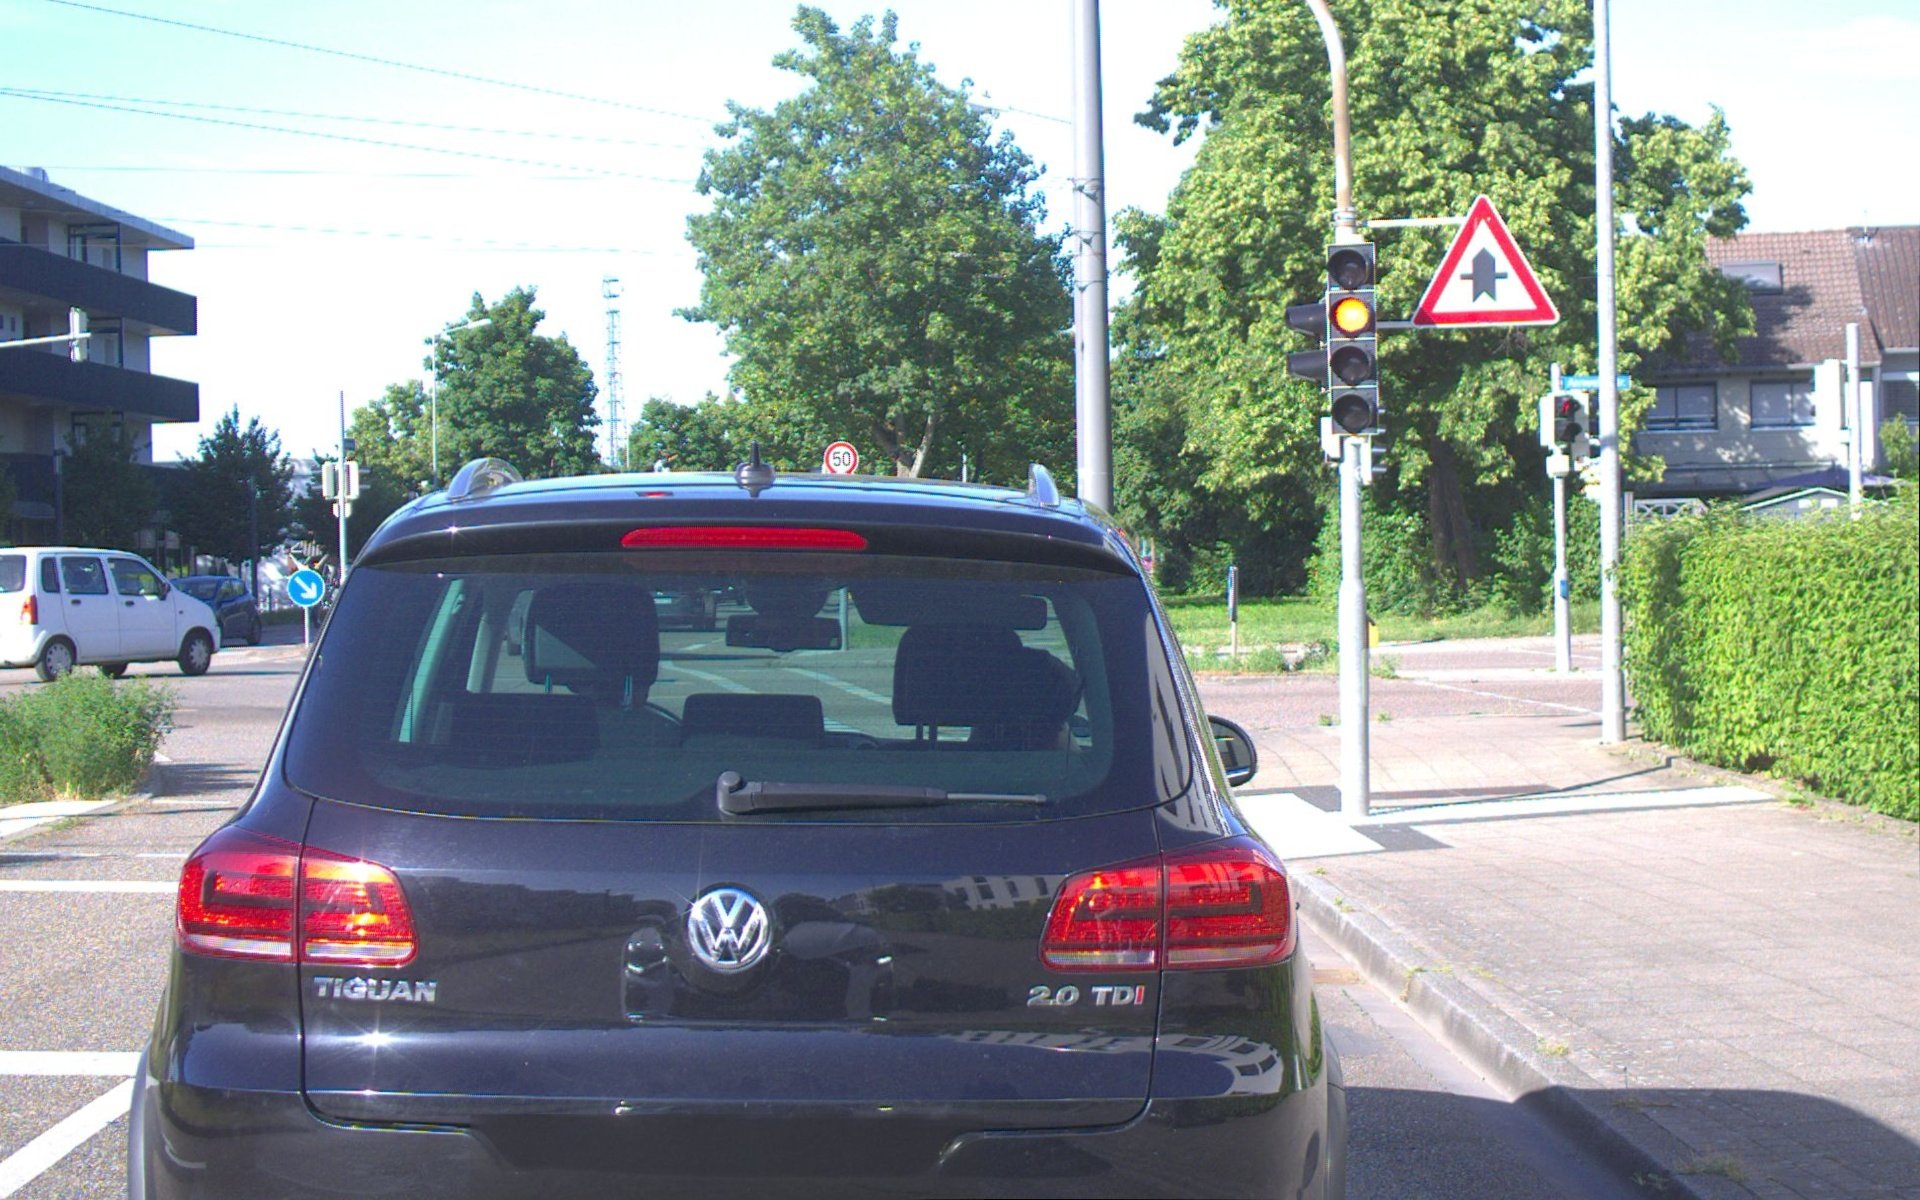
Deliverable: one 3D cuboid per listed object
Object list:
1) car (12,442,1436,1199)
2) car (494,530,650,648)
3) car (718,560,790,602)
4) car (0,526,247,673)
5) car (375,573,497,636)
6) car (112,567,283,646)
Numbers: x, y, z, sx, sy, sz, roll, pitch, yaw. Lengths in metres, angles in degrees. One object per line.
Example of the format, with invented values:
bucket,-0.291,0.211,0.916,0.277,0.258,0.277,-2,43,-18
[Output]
car,-0.337,0.600,6.546,1.869,1.632,4.000,1,1,-1
car,-6.315,-0.193,55.614,1.993,1.830,4.001,1,1,-14
car,-7.928,-0.748,132.538,1.994,1.569,4.338,1,1,7
car,-10.807,-0.038,42.471,1.867,1.714,3.680,0,1,32
car,-13.444,0.094,88.430,1.994,1.569,4.338,1,1,7
car,-15.815,0.112,71.555,1.994,1.569,4.337,1,1,9
